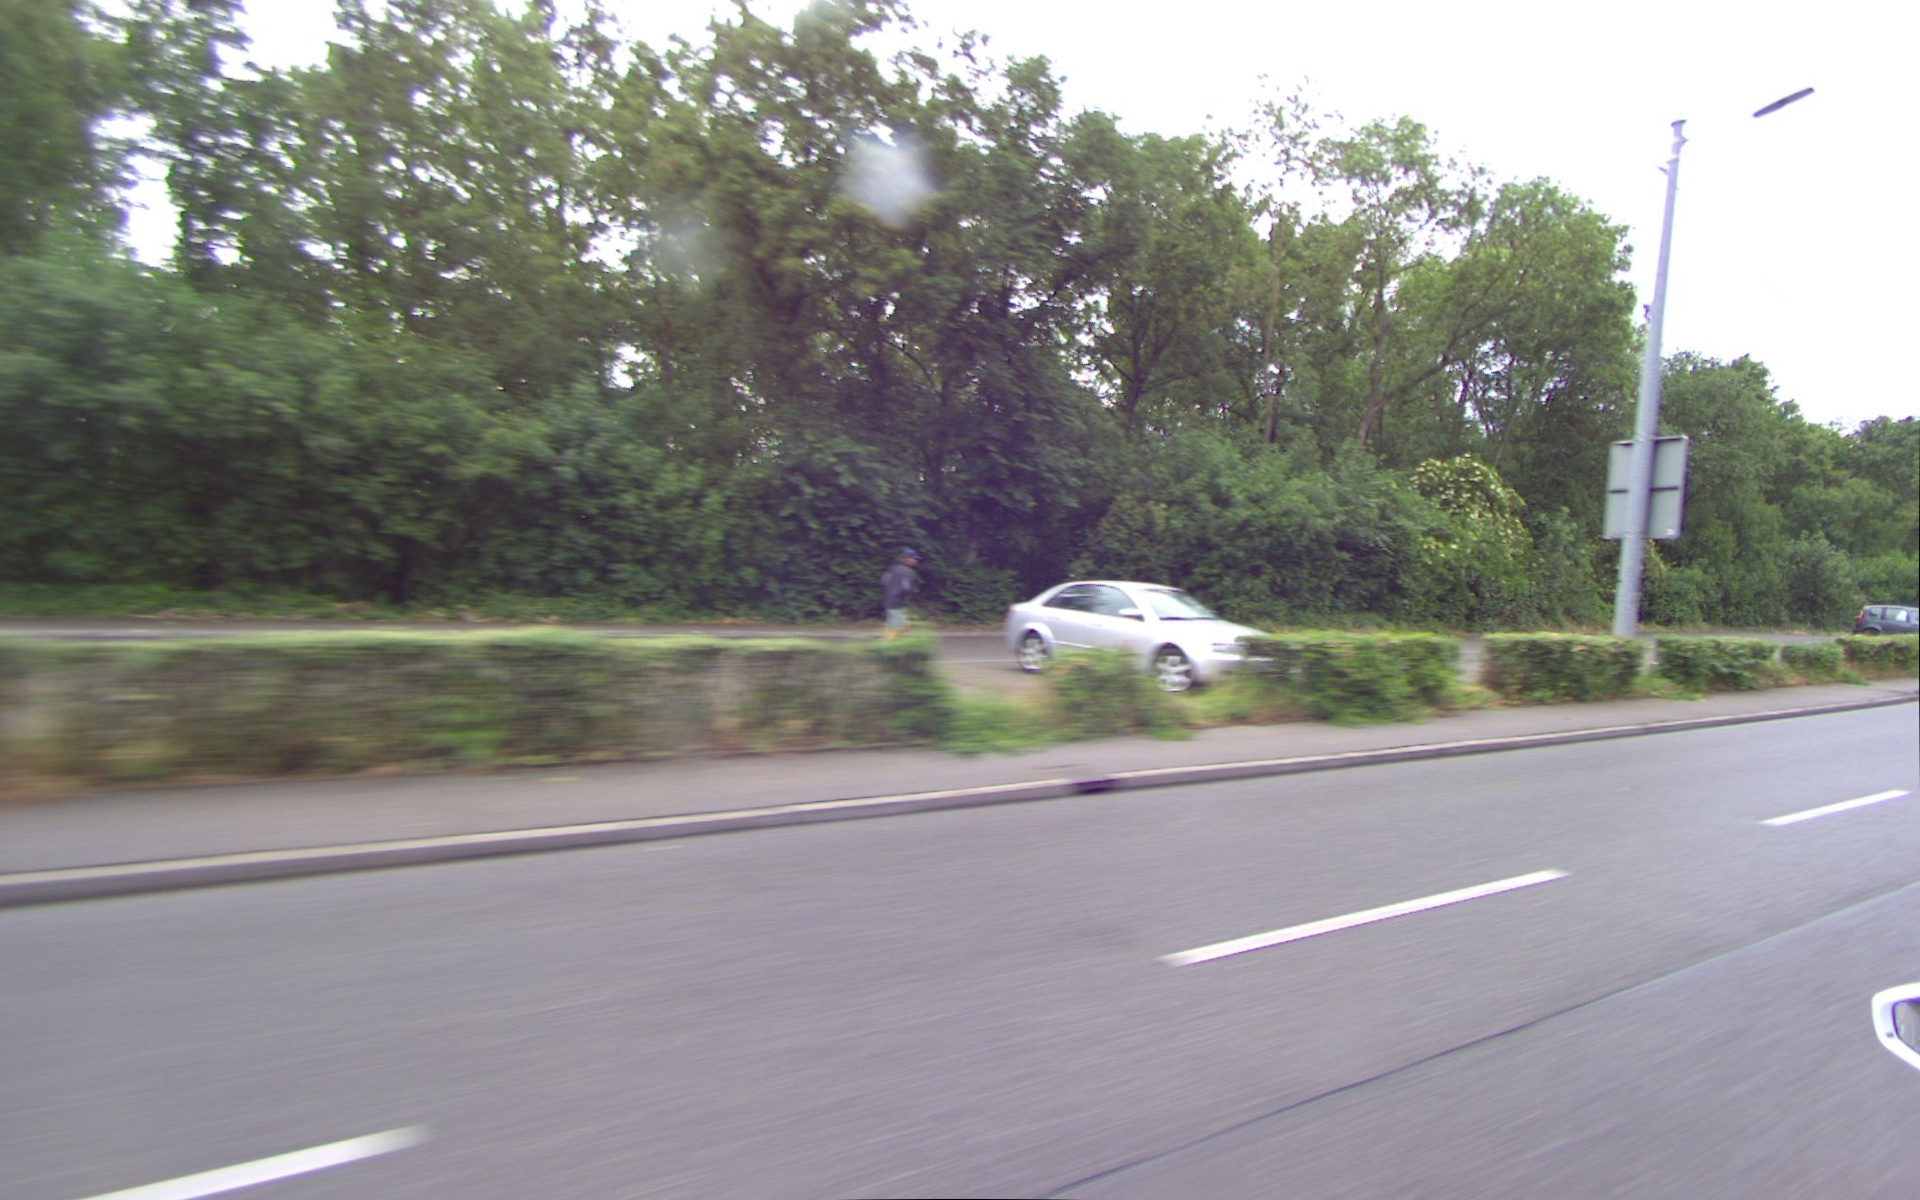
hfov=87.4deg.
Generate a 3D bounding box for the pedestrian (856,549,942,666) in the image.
[{"bbox_3d":[-0.986,0.124,16.160,1.120,1.822,0.815,1,1,-24],"label":"pedestrian"}]

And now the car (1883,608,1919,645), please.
[{"bbox_3d":[43.998,1.238,45.039,1.837,1.613,3.612,1,2,-41],"label":"car"}]

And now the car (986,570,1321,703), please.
[{"bbox_3d":[2.573,0.401,14.415,1.982,1.526,4.541,1,2,-37],"label":"car"}]

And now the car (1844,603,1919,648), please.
[{"bbox_3d":[39.644,1.092,41.505,1.980,1.731,4.263,1,2,-34],"label":"car"}]
